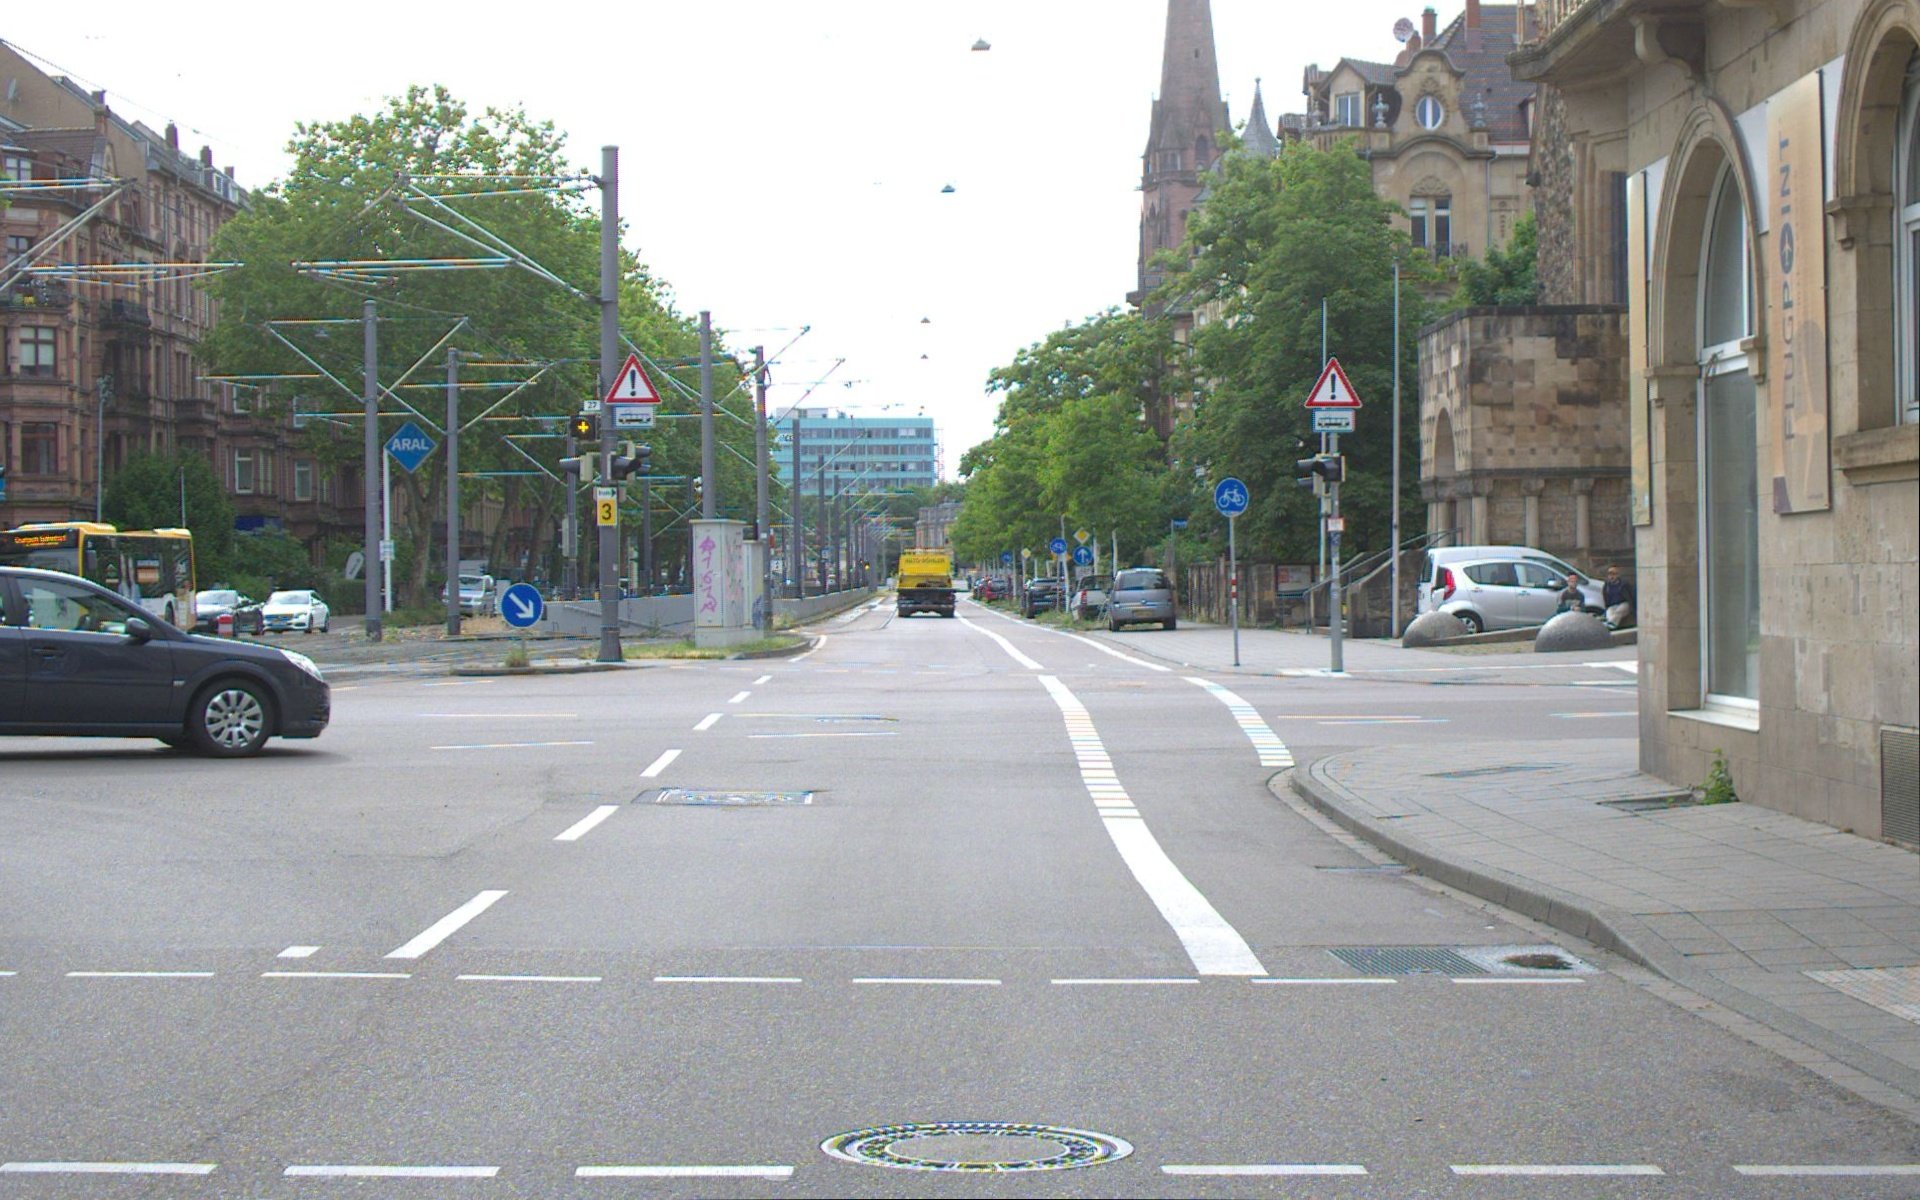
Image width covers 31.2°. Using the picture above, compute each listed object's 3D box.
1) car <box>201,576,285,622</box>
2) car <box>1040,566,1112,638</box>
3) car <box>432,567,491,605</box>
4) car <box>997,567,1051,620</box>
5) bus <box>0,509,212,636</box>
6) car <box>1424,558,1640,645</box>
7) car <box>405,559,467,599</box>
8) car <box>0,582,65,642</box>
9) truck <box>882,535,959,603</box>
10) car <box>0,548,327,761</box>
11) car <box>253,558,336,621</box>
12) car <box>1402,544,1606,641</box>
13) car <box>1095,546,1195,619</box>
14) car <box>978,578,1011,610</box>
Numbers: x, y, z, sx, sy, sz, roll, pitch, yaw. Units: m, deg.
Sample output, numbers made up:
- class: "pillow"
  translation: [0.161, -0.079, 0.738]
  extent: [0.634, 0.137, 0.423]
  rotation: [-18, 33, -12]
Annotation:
- class: "car"
  translation: [-21.285, -0.045, 102.197]
  extent: [1.656, 1.316, 3.638]
  rotation: [1, 1, 1]
- class: "car"
  translation: [3.338, 0.036, 99.588]
  extent: [1.993, 2.007, 4.000]
  rotation: [1, 1, 1]
- class: "car"
  translation: [-21.635, -0.633, 149.336]
  extent: [1.993, 1.605, 4.000]
  rotation: [1, 1, -1]
- class: "car"
  translation: [2.532, -0.270, 135.989]
  extent: [1.993, 2.007, 4.000]
  rotation: [1, 1, -1]
- class: "bus"
  translation: [-22.482, -0.727, 89.093]
  extent: [3.231, 3.025, 12.311]
  rotation: [1, 1, 1]
- class: "car"
  translation: [10.761, 0.020, 64.887]
  extent: [3.713, 1.558, 2.000]
  rotation: [1, 0, 0]
- class: "car"
  translation: [-21.544, -0.873, 141.490]
  extent: [1.993, 1.605, 4.000]
  rotation: [1, 1, -1]
- class: "car"
  translation: [-21.914, 0.261, 79.044]
  extent: [1.656, 1.316, 3.638]
  rotation: [1, 1, 1]
- class: "truck"
  translation: [-1.598, -1.314, 144.491]
  extent: [3.055, 2.760, 9.815]
  rotation: [0, 1, 0]
- class: "car"
  translation: [-7.293, 0.385, 26.180]
  extent: [4.521, 1.558, 2.000]
  rotation: [0, 1, -24]
- class: "car"
  translation: [-21.885, -0.352, 113.150]
  extent: [1.993, 2.007, 4.000]
  rotation: [1, 1, -1]
- class: "car"
  translation: [10.789, -0.158, 68.404]
  extent: [3.713, 1.849, 2.000]
  rotation: [1, 0, 0]
- class: "car"
  translation: [4.863, -0.469, 89.984]
  extent: [1.994, 1.849, 4.024]
  rotation: [1, 1, 12]
- class: "car"
  translation: [2.185, -0.393, 216.836]
  extent: [1.993, 2.007, 4.000]
  rotation: [1, 1, -1]
